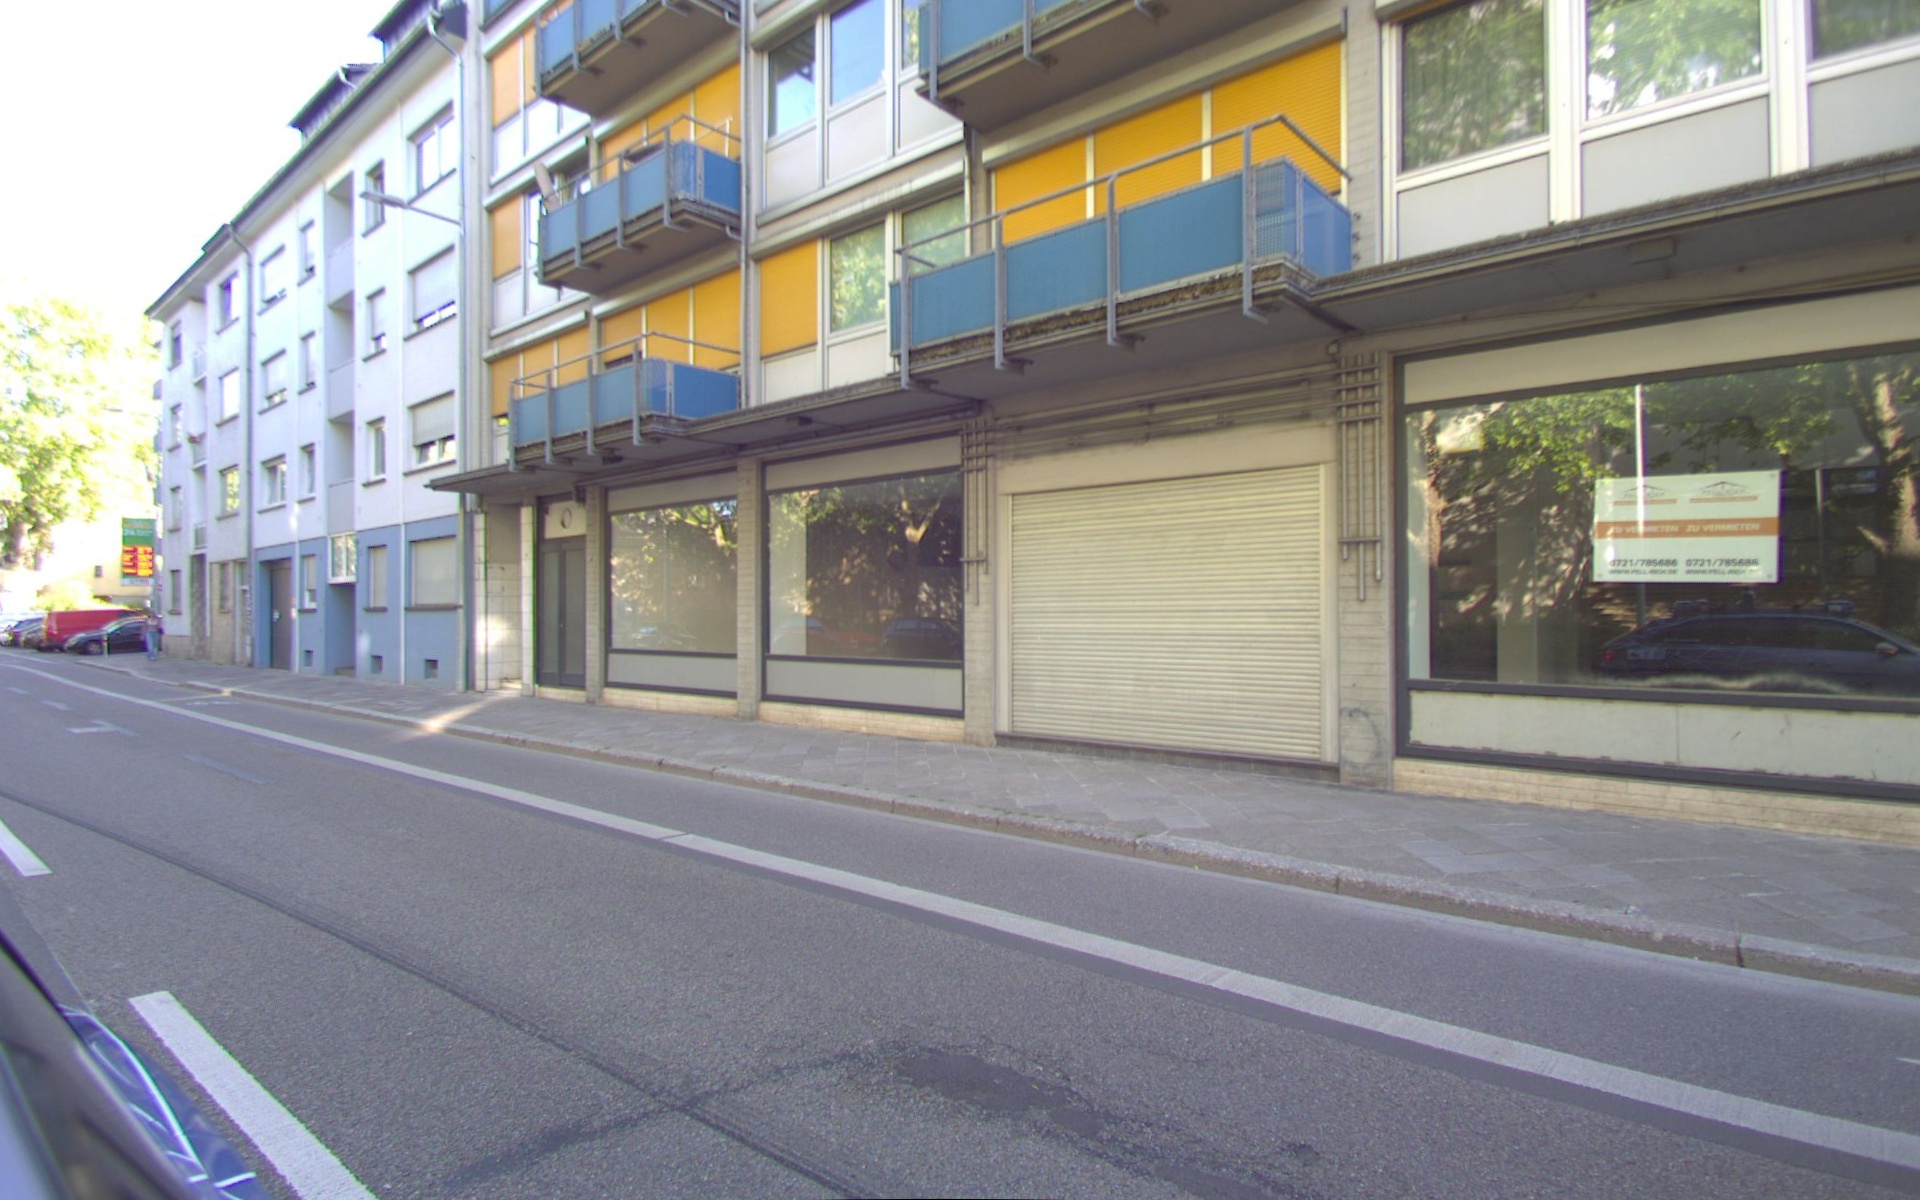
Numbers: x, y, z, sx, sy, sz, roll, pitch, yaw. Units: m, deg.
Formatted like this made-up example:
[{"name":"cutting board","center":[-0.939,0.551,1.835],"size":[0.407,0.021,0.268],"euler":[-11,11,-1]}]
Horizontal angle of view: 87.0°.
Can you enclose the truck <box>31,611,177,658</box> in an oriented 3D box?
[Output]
[{"name":"truck","center":[-40.355,1.582,47.838],"size":[1.998,2.036,5.024],"euler":[-1,0,40]}]

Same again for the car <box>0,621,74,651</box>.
[{"name":"car","center":[-52.888,2.035,57.474],"size":[1.656,1.599,3.615],"euler":[-1,0,35]}]

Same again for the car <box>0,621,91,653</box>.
[{"name":"car","center":[-50.827,2.008,55.970],"size":[1.699,1.640,3.952],"euler":[-1,0,35]}]

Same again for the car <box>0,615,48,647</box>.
[{"name":"car","center":[-59.764,1.966,63.836],"size":[1.693,1.953,3.224],"euler":[-1,0,43]}]

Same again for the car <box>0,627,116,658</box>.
[{"name":"car","center":[-43.277,2.021,48.559],"size":[1.904,1.282,3.983],"euler":[-1,0,39]}]

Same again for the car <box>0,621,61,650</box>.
[{"name":"car","center":[-55.072,2.080,59.003],"size":[1.715,1.594,3.660],"euler":[-1,0,35]}]

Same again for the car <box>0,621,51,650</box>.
[{"name":"car","center":[-56.893,2.120,60.395],"size":[1.740,1.600,3.685],"euler":[-1,0,35]}]

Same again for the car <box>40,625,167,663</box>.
[{"name":"car","center":[-36.945,1.864,43.718],"size":[1.780,1.404,3.947],"euler":[-1,0,39]}]

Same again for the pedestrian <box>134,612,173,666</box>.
[{"name":"pedestrian","center":[-26.994,1.290,33.885],"size":[0.741,1.785,0.884],"euler":[-1,0,41]}]
